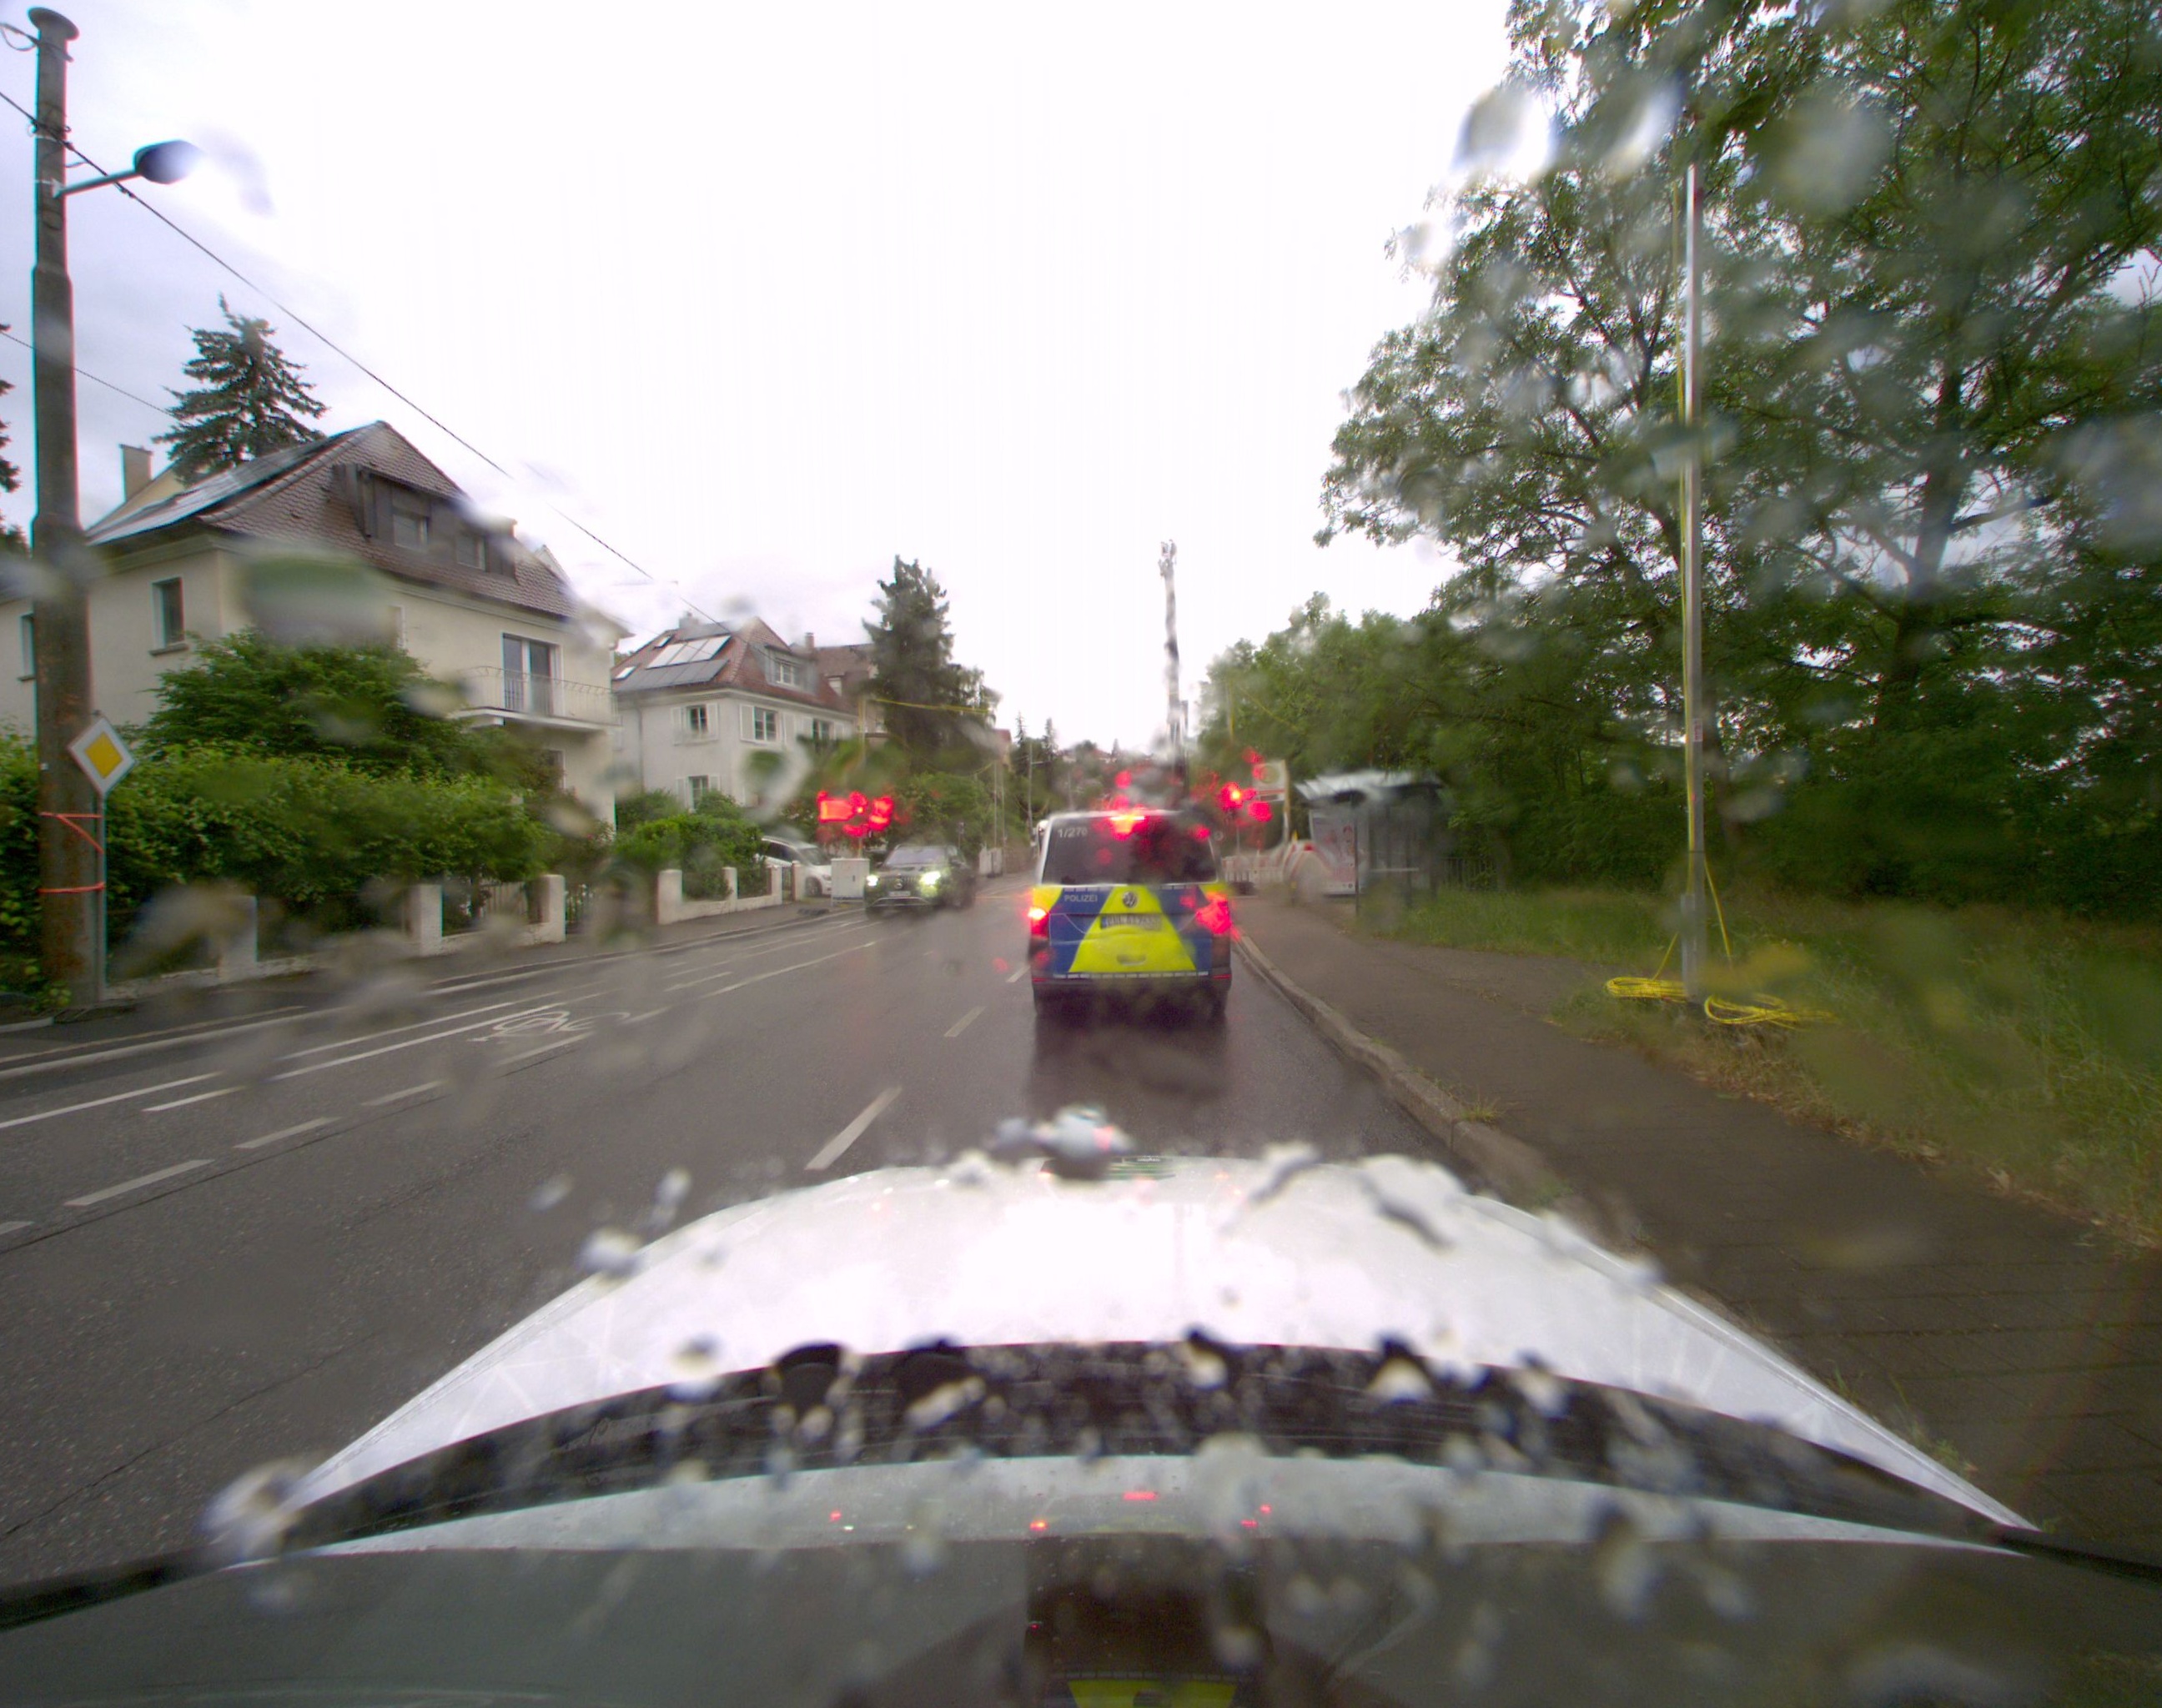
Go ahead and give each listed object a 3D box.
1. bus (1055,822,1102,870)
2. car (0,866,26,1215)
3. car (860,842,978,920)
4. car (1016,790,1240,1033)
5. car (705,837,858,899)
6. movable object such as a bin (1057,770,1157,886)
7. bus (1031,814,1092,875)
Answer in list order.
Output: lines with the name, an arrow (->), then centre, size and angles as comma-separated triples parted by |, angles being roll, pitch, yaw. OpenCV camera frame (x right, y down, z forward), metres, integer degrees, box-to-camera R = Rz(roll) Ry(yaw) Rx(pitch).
bus -> -0.037, -0.638, 68.040 | 2.827, 3.625, 12.022 | 0, 0, 5
car -> -5.431, 0.805, 1.546 | 1.758, 1.463, 3.886 | 0, 0, 0
car -> -3.948, 0.589, 20.701 | 1.972, 1.748, 4.555 | 0, 0, 1
car -> 0.463, 0.485, 8.931 | 1.886, 2.050, 4.002 | 0, 0, 2
car -> -10.278, 0.462, 28.047 | 4.599, 2.007, 1.907 | 0, 0, 13
movable object such as a bin -> 1.108, -0.925, 31.762 | 2.809, 4.177, 4.400 | 0, 0, 17
bus -> -1.098, -0.581, 56.092 | 2.827, 3.718, 12.022 | 0, 0, 5
